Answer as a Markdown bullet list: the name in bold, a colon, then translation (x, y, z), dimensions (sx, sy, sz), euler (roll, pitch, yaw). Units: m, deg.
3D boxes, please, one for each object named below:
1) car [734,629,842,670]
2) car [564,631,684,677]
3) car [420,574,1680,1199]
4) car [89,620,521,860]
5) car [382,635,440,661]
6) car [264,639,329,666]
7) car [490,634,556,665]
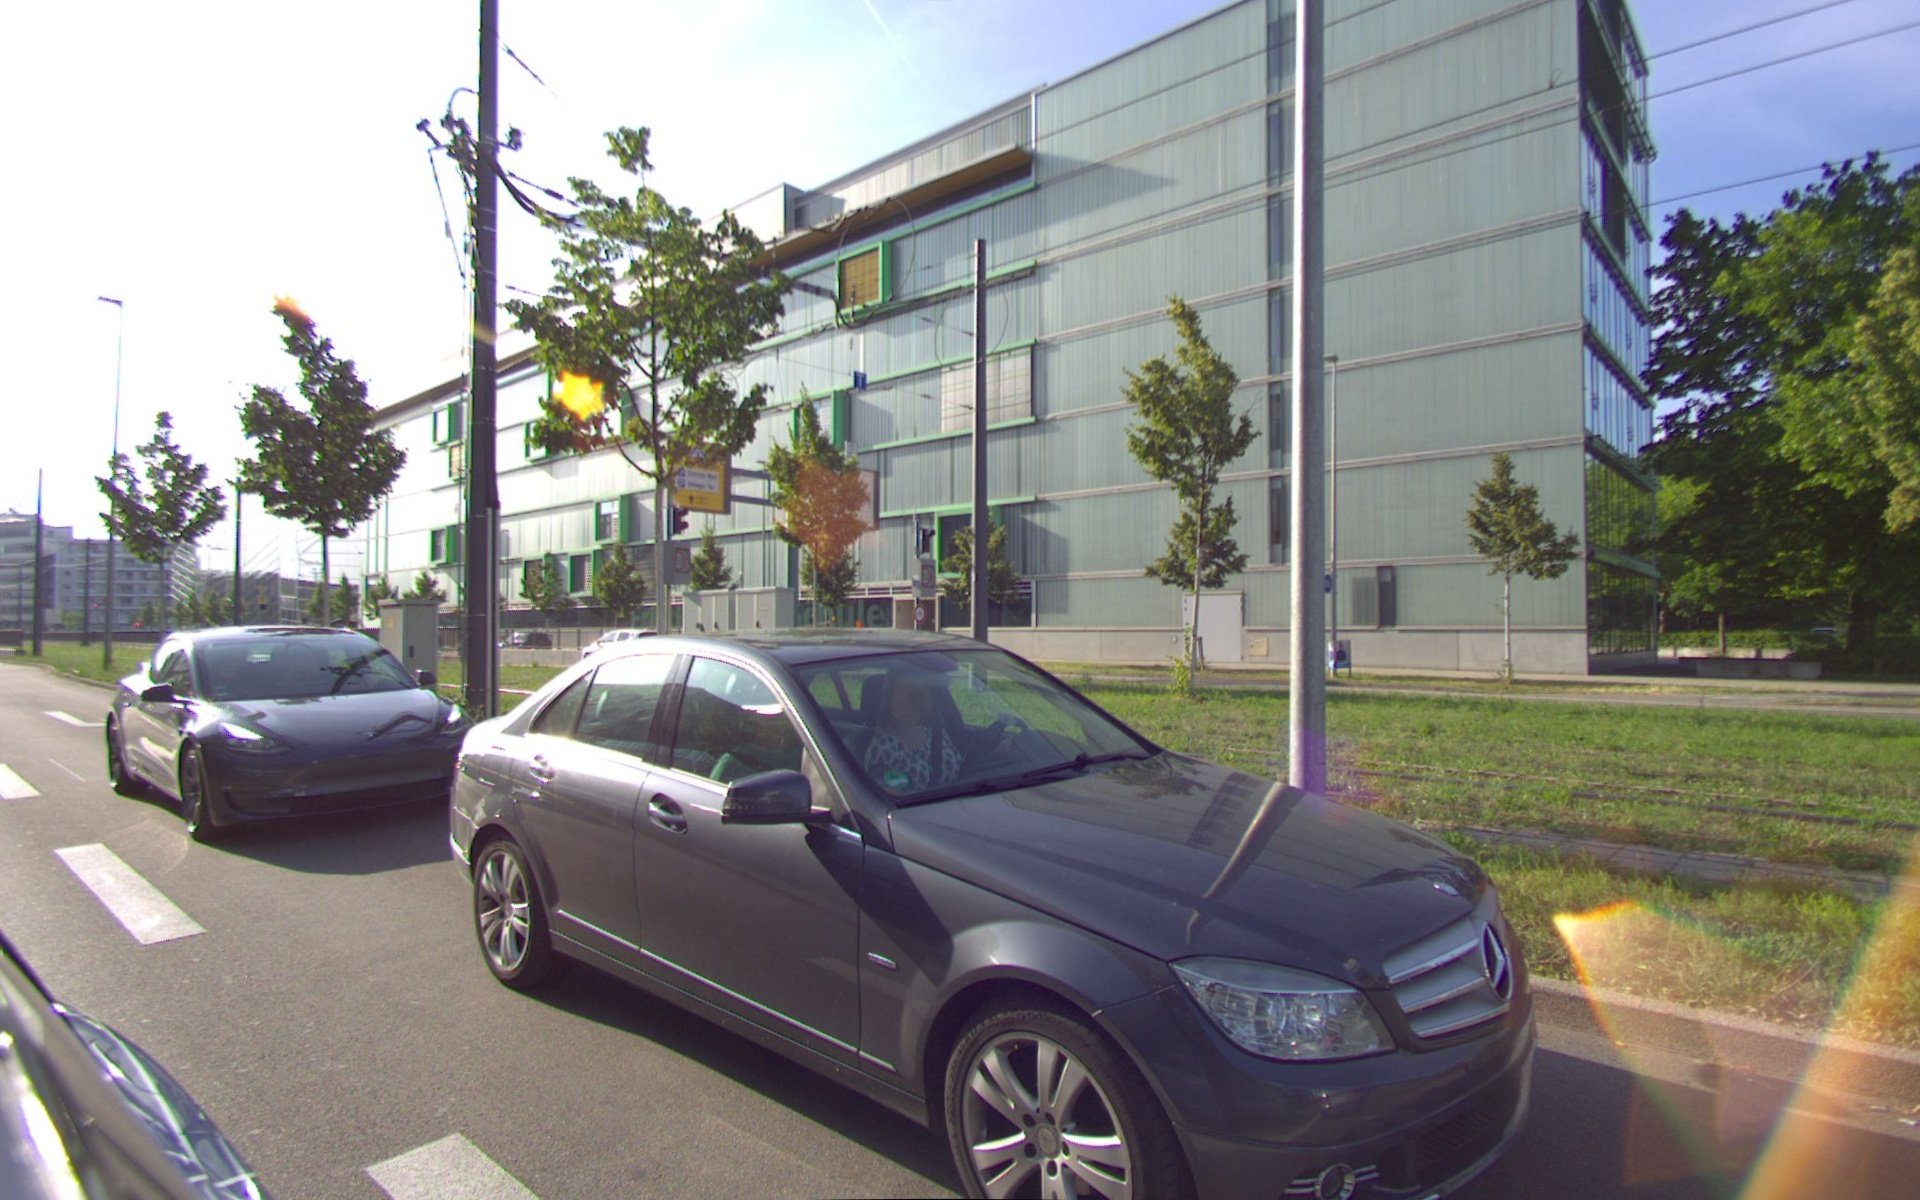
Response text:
- **car**: translation (-6.993, 1.973, 40.846), dimensions (4.438, 1.539, 1.886), euler (-2, -3, 40)
- **car**: translation (-12.056, 1.905, 36.236), dimensions (4.303, 1.539, 1.975), euler (-2, -3, 36)
- **car**: translation (-0.202, 0.759, 3.656), dimensions (4.353, 1.490, 1.767), euler (-2, -1, 43)
- **car**: translation (-5.507, 0.923, 8.261), dimensions (4.333, 1.396, 1.870), euler (-2, -1, 42)
- **car**: translation (-36.736, 3.195, 67.669), dimensions (4.614, 1.700, 1.972), euler (-2, -3, 41)
- **car**: translation (-39.689, 3.099, 60.519), dimensions (4.909, 1.539, 1.973), euler (-2, -3, 41)
- **car**: translation (-24.679, 2.769, 57.120), dimensions (4.179, 1.647, 1.888), euler (-2, -2, 42)
